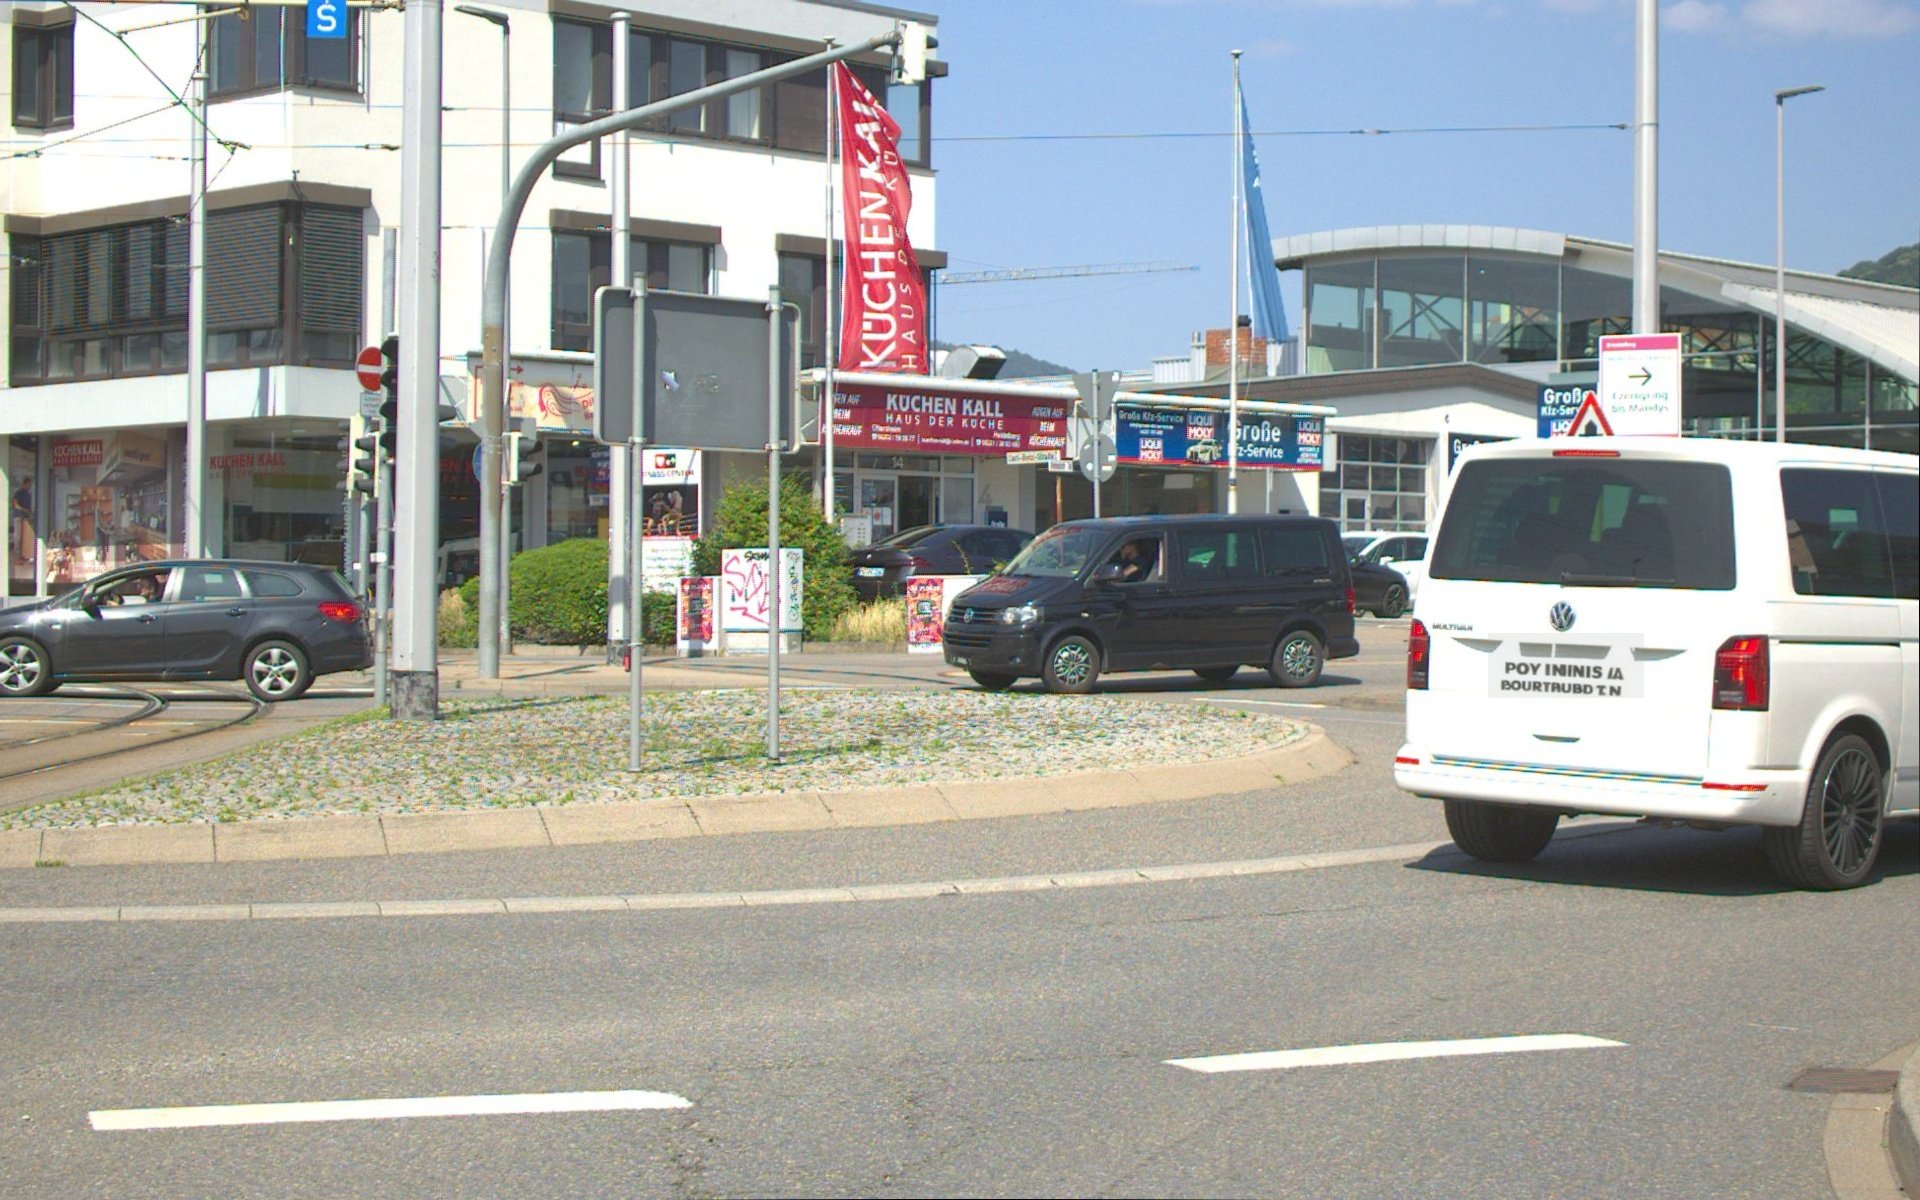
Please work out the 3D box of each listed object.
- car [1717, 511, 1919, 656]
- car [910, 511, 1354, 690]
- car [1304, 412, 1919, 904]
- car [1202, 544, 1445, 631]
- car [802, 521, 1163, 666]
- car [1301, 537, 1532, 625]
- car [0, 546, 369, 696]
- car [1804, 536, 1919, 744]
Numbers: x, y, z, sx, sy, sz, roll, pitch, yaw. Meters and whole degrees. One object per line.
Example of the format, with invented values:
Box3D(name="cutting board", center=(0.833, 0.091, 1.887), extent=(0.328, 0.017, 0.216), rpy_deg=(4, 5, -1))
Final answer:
Box3D(name="car", center=(12.891, -0.231, 47.981), extent=(4.815, 1.929, 1.933), rpy_deg=(0, 1, -39))
Box3D(name="car", center=(1.962, -0.034, 38.843), extent=(4.624, 1.903, 2.098), rpy_deg=(0, 2, -32))
Box3D(name="car", center=(4.015, 0.214, 16.611), extent=(2.167, 2.007, 5.006), rpy_deg=(1, 1, 41))
Box3D(name="car", center=(6.323, -0.220, 59.513), extent=(2.031, 1.422, 4.306), rpy_deg=(1, 1, 42))
Box3D(name="car", center=(0.381, -0.114, 49.034), extent=(5.266, 1.959, 1.965), rpy_deg=(0, 1, -44))
Box3D(name="car", center=(8.756, -0.347, 65.614), extent=(1.885, 1.583, 4.916), rpy_deg=(-2, -1, 42))
Box3D(name="car", center=(-8.556, 0.211, 37.012), extent=(4.227, 1.550, 1.970), rpy_deg=(0, 1, -7))
Box3D(name="car", center=(8.937, 0.317, 30.722), extent=(1.996, 1.727, 4.559), rpy_deg=(1, 1, 23))
